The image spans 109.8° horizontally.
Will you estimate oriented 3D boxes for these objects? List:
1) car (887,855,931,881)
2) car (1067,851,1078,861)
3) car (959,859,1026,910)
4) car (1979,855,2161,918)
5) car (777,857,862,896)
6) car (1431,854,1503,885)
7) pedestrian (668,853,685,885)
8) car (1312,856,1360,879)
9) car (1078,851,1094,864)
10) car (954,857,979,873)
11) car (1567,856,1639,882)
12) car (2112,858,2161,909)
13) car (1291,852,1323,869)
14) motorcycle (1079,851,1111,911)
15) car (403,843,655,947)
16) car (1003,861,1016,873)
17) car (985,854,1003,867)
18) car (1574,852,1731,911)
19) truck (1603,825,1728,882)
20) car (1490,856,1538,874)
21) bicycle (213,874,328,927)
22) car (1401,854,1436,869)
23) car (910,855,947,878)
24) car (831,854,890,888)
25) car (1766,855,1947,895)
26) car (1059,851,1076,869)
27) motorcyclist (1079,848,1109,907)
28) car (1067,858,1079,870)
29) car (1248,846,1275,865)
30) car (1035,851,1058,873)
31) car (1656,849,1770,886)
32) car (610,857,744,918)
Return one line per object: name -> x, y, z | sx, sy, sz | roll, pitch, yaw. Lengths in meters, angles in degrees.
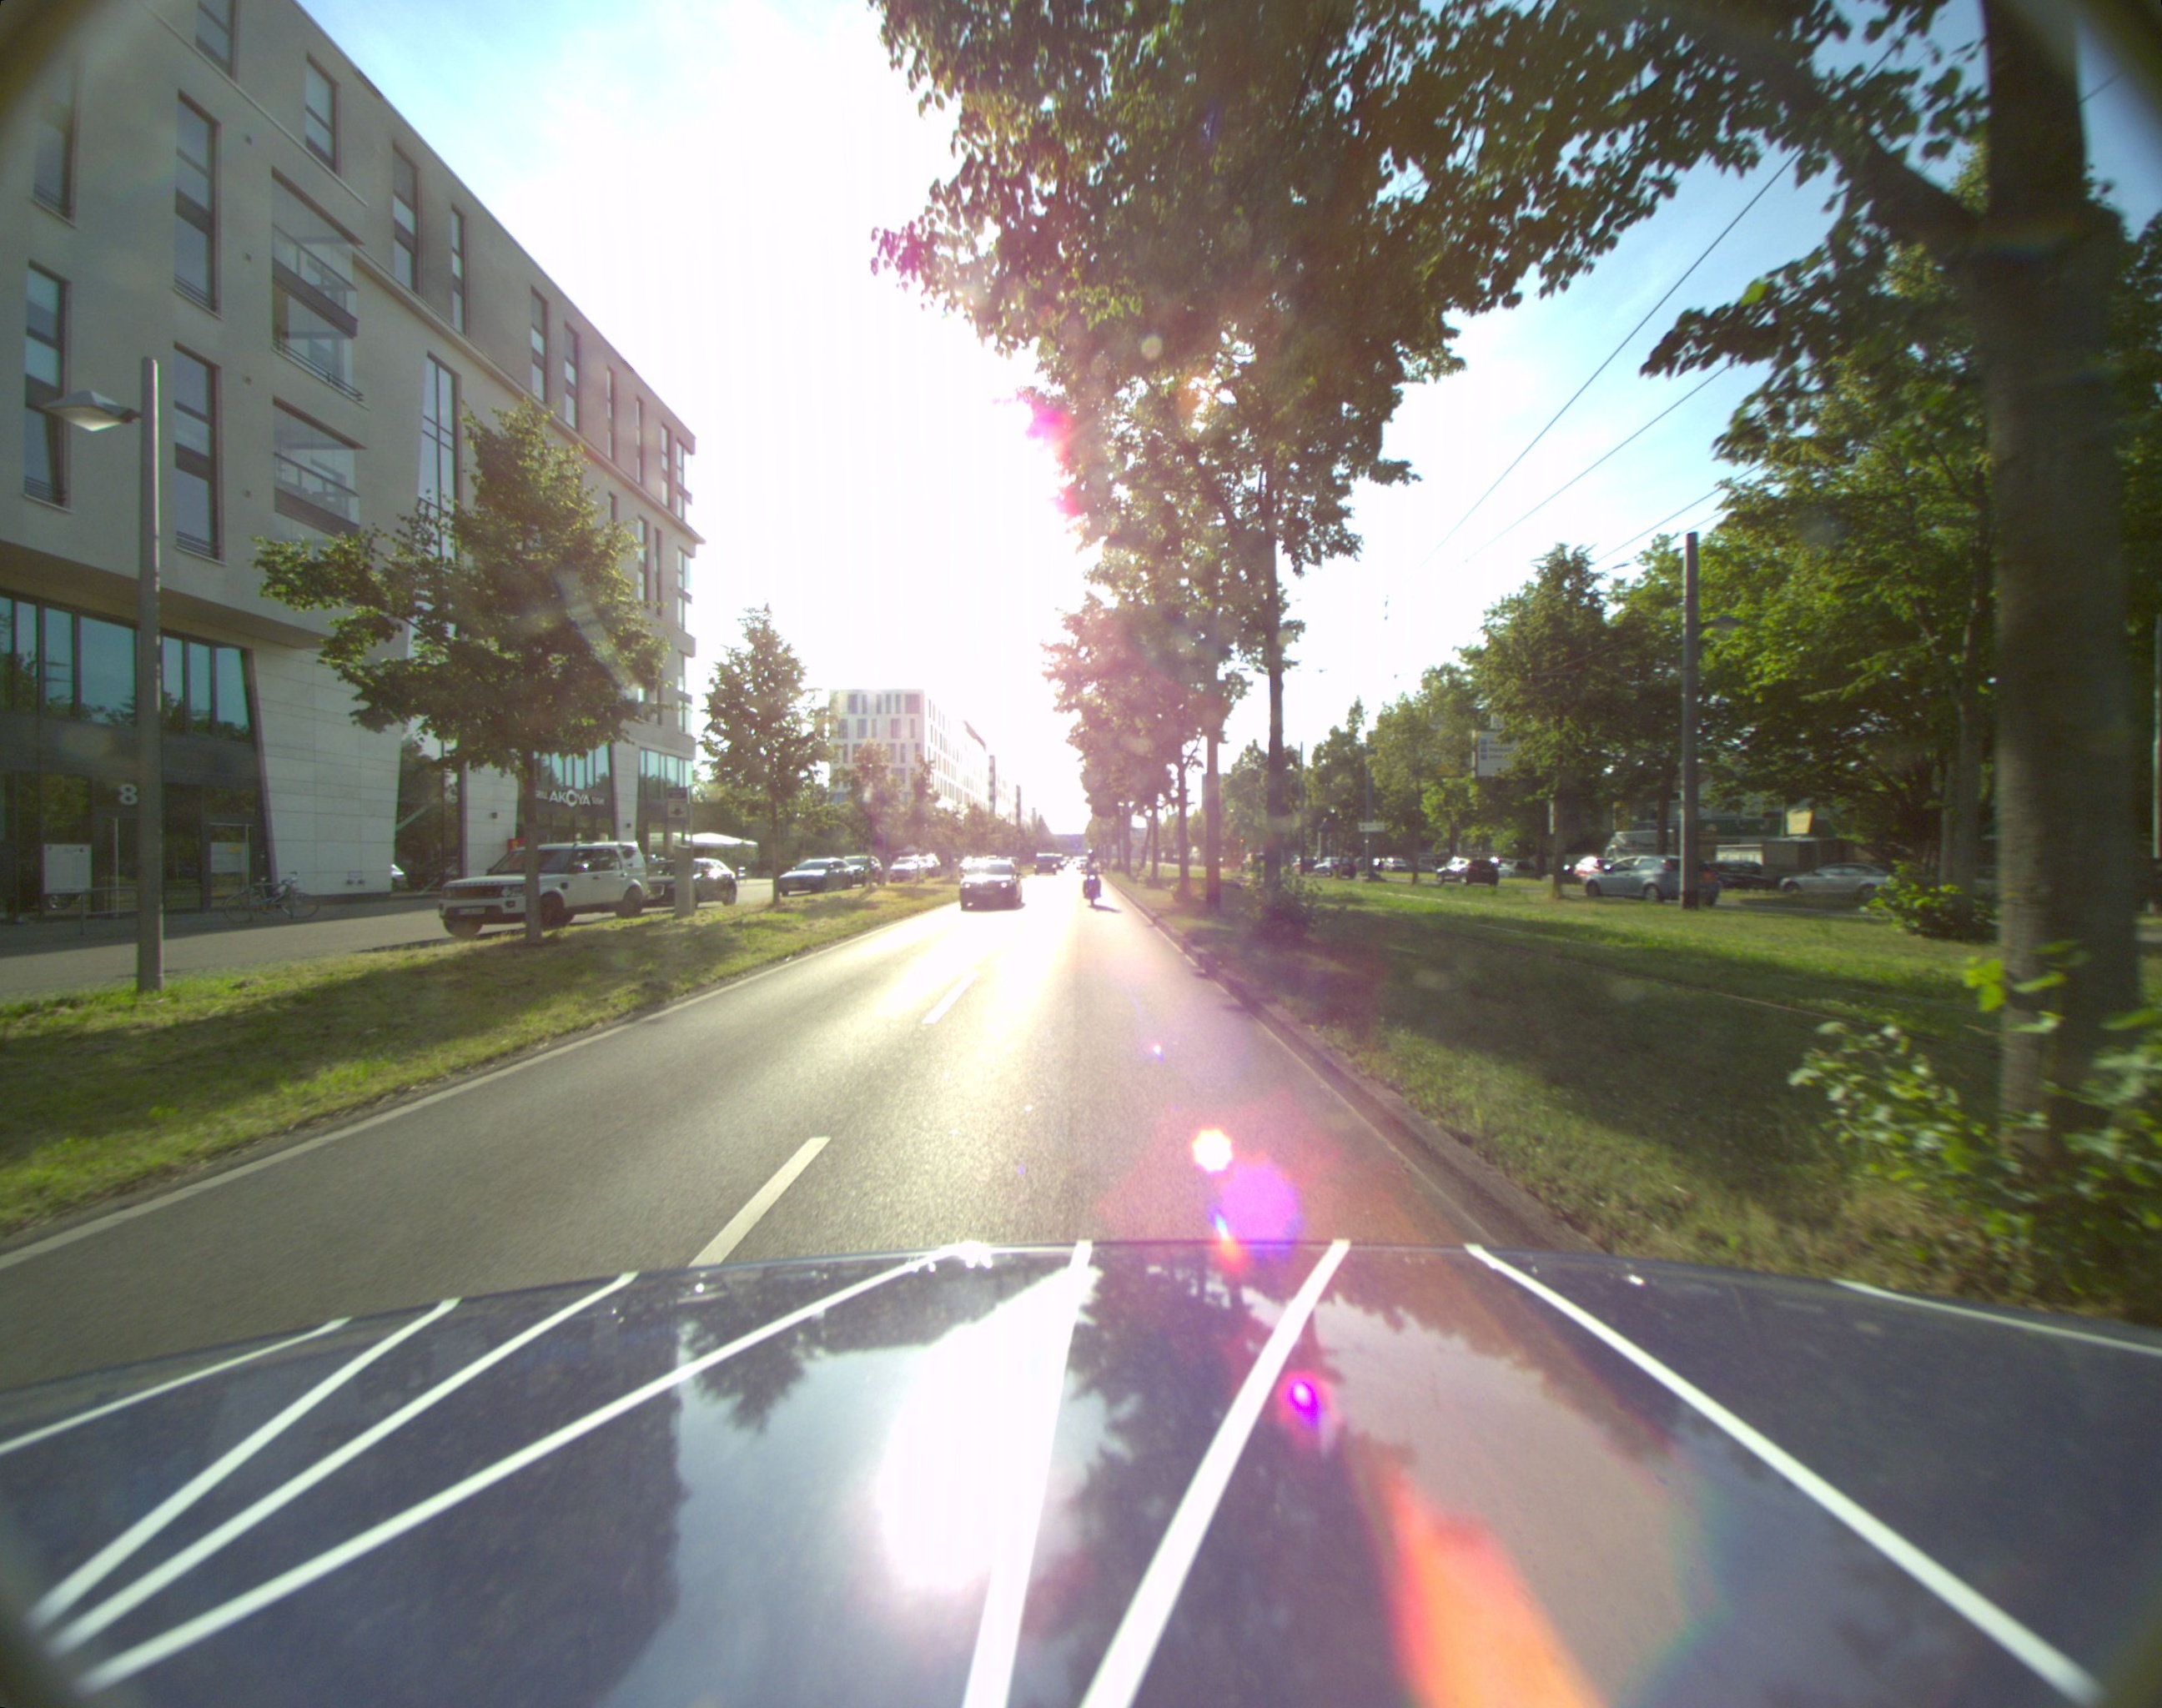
car -> -11.269, 0.874, 49.999 | 1.840, 1.521, 4.327 | -2, 1, 0
car -> -1.549, 0.338, 140.701 | 1.740, 1.777, 3.893 | -2, 1, 1
car -> -2.858, 0.940, 25.227 | 1.698, 1.416, 4.038 | -2, 1, 0
car -> 27.281, 0.804, 20.096 | 1.835, 1.423, 4.474 | -2, 1, 1
car -> -11.424, 0.931, 33.560 | 1.764, 1.479, 4.919 | -2, 1, 3
car -> 20.199, 0.765, 39.927 | 1.686, 1.427, 4.035 | -2, 1, 0
pedestrian -> -20.740, 0.753, 38.924 | 0.499, 1.591, 0.572 | -2, 1, 0
car -> 17.374, 0.881, 51.972 | 1.686, 1.427, 4.670 | -2, 1, 0
car -> 0.591, 0.429, 91.727 | 1.756, 1.427, 4.034 | -2, 1, -3
car -> -11.734, 1.118, 78.115 | 1.840, 1.521, 4.327 | -2, 1, 0
car -> 28.793, 0.807, 42.029 | 1.586, 1.269, 3.961 | -2, 1, 7
car -> 36.476, 0.990, 23.978 | 1.835, 1.602, 4.474 | -2, 1, 1
car -> 20.394, 0.564, 68.630 | 1.686, 1.515, 3.929 | -1, 1, 0
motorcycle -> 0.394, 0.763, 22.893 | 0.798, 1.659, 2.633 | -2, 1, -1
car -> -11.604, 0.738, 16.535 | 1.899, 1.863, 4.843 | -2, 1, 0
car -> -11.608, 2.076, 123.949 | 1.740, 1.777, 3.893 | -2, 1, 0
car -> -11.104, 0.786, 97.338 | 1.840, 1.521, 4.327 | -2, 1, 0
car -> 17.107, 0.760, 23.024 | 1.614, 1.523, 4.132 | -2, 1, 0
truck -> 39.717, -0.086, 52.060 | 2.895, 3.496, 7.946 | -2, 1, 5
car -> 29.862, 0.747, 52.502 | 1.301, 1.101, 3.772 | -2, 1, 3
bicycle -> -18.597, 1.039, 17.499 | 0.512, 1.064, 1.983 | 1, 1, 1
car -> 30.689, 0.672, 69.149 | 1.456, 1.275, 3.783 | -2, 1, 0
car -> -11.244, 0.864, 56.319 | 1.840, 1.521, 4.327 | -2, 1, 0
car -> -11.394, 0.832, 39.613 | 1.764, 1.588, 4.327 | -2, 1, 0
car -> 28.043, 0.705, 27.771 | 1.680, 1.236, 4.900 | -2, 1, 1
car -> -1.567, 0.658, 89.592 | 1.909, 2.002, 3.999 | -2, 1, 0
motorcyclist -> 0.382, 0.698, 22.880 | 0.814, 1.699, 0.843 | -2, 1, -1
car -> -1.306, 1.632, 122.154 | 1.740, 1.777, 3.893 | -2, 1, 1
car -> 18.709, 0.138, 78.891 | 1.686, 1.853, 4.218 | -2, 1, 0
car -> -3.070, 0.698, 69.011 | 1.803, 1.880, 4.820 | -2, 1, 0
car -> 27.674, 0.547, 33.443 | 1.675, 1.423, 3.959 | -2, 1, 0
car -> -11.643, 0.902, 22.251 | 1.765, 1.479, 4.209 | -2, 1, -2
